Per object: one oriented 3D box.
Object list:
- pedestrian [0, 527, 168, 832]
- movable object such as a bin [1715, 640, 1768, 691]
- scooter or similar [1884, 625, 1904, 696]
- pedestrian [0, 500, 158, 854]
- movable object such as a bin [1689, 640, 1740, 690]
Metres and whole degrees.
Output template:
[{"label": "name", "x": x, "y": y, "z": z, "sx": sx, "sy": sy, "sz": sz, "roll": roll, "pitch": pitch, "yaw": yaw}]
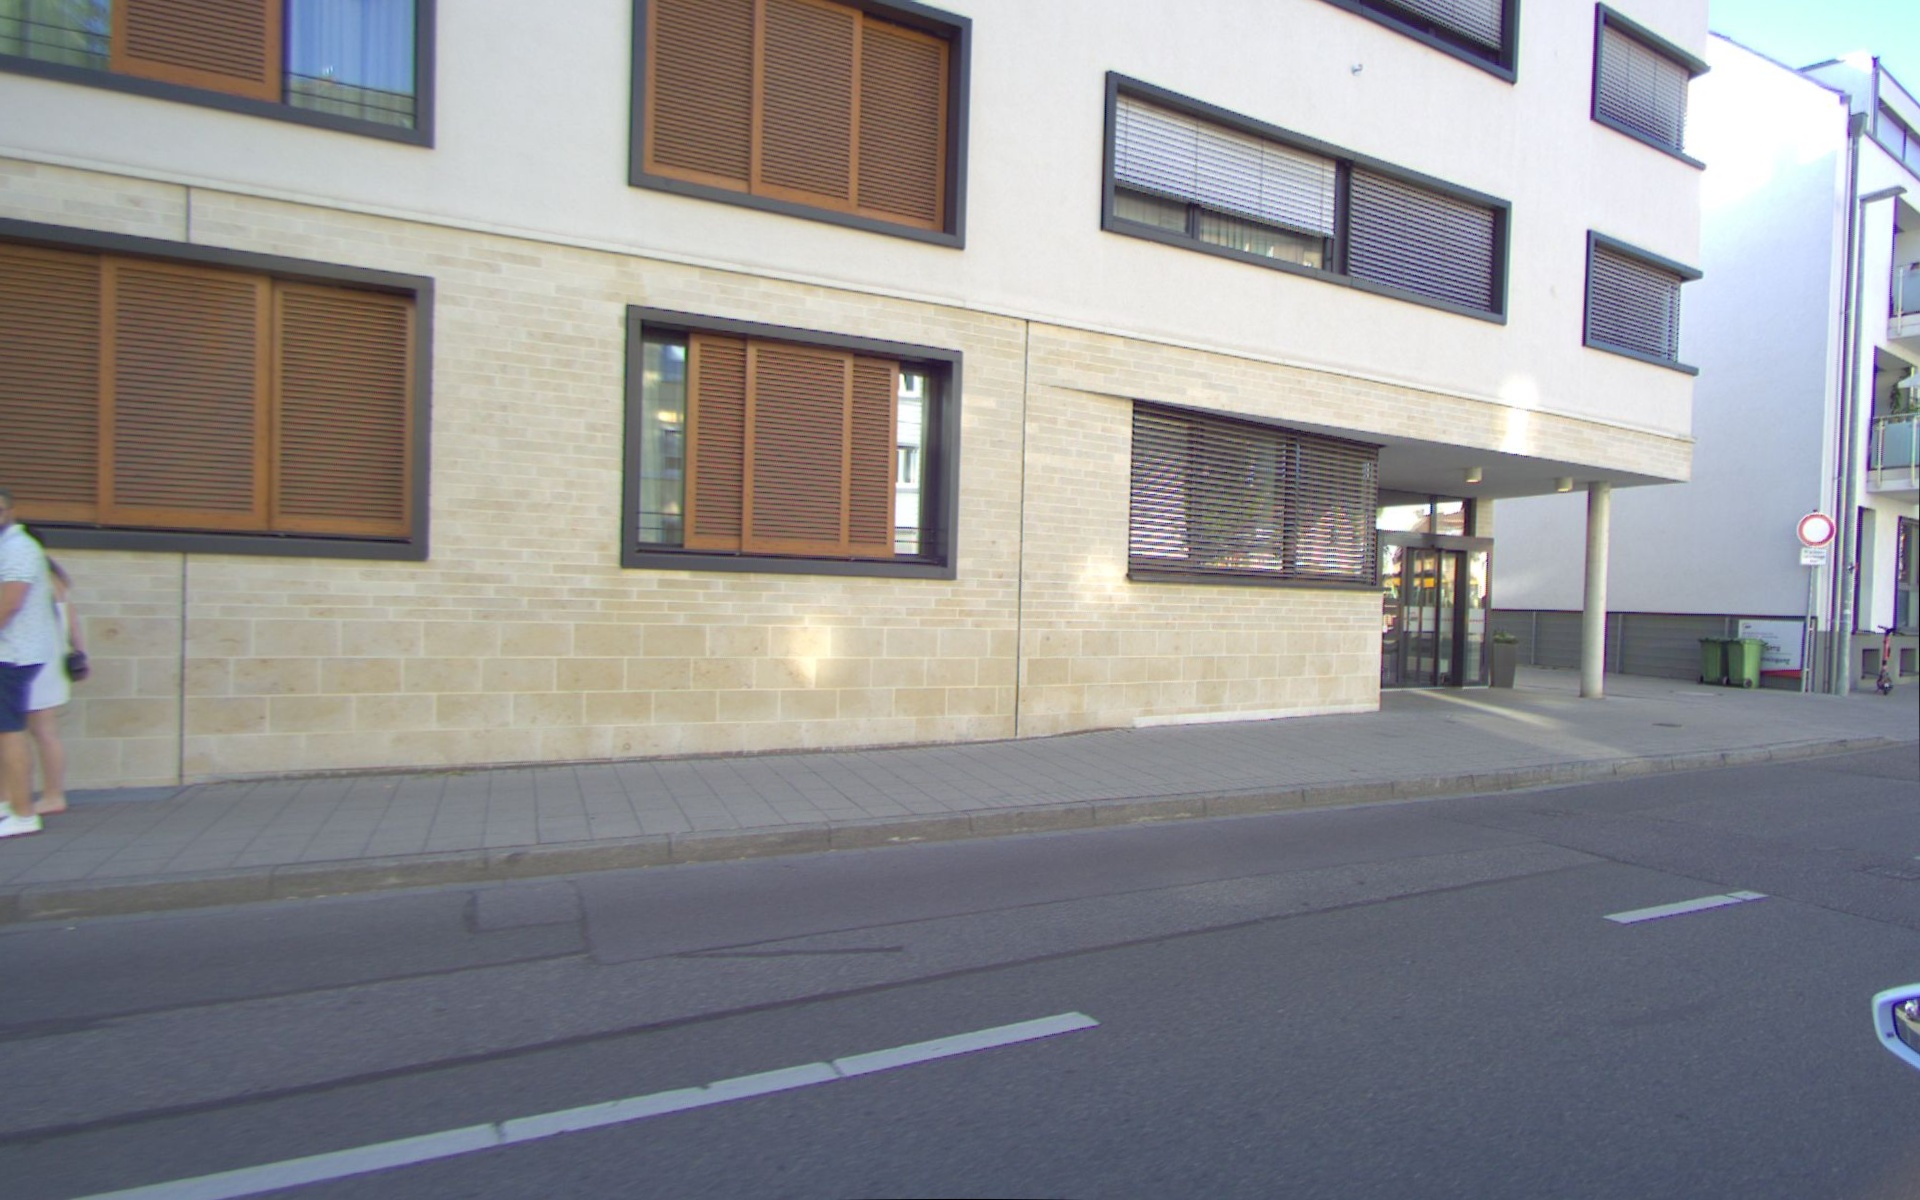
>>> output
[{"label": "pedestrian", "x": -5.452, "y": 0.451, "z": 6.105, "sx": 0.832, "sy": 1.737, "sz": 0.700, "roll": 2, "pitch": 1, "yaw": -26}, {"label": "movable object such as a bin", "x": 14.812, "y": 1.234, "z": 19.046, "sx": 0.521, "sy": 0.913, "sz": 0.549, "roll": 2, "pitch": 1, "yaw": -10}, {"label": "scooter or similar", "x": 17.333, "y": 1.107, "z": 18.647, "sx": 0.222, "sy": 1.236, "sz": 1.148, "roll": 3, "pitch": 2, "yaw": 42}, {"label": "pedestrian", "x": -5.177, "y": 0.403, "z": 5.581, "sx": 0.980, "sy": 1.873, "sz": 0.603, "roll": 2, "pitch": 1, "yaw": -26}, {"label": "movable object such as a bin", "x": 14.723, "y": 1.262, "z": 19.610, "sx": 0.521, "sy": 0.913, "sz": 0.549, "roll": 2, "pitch": 1, "yaw": -10}]
